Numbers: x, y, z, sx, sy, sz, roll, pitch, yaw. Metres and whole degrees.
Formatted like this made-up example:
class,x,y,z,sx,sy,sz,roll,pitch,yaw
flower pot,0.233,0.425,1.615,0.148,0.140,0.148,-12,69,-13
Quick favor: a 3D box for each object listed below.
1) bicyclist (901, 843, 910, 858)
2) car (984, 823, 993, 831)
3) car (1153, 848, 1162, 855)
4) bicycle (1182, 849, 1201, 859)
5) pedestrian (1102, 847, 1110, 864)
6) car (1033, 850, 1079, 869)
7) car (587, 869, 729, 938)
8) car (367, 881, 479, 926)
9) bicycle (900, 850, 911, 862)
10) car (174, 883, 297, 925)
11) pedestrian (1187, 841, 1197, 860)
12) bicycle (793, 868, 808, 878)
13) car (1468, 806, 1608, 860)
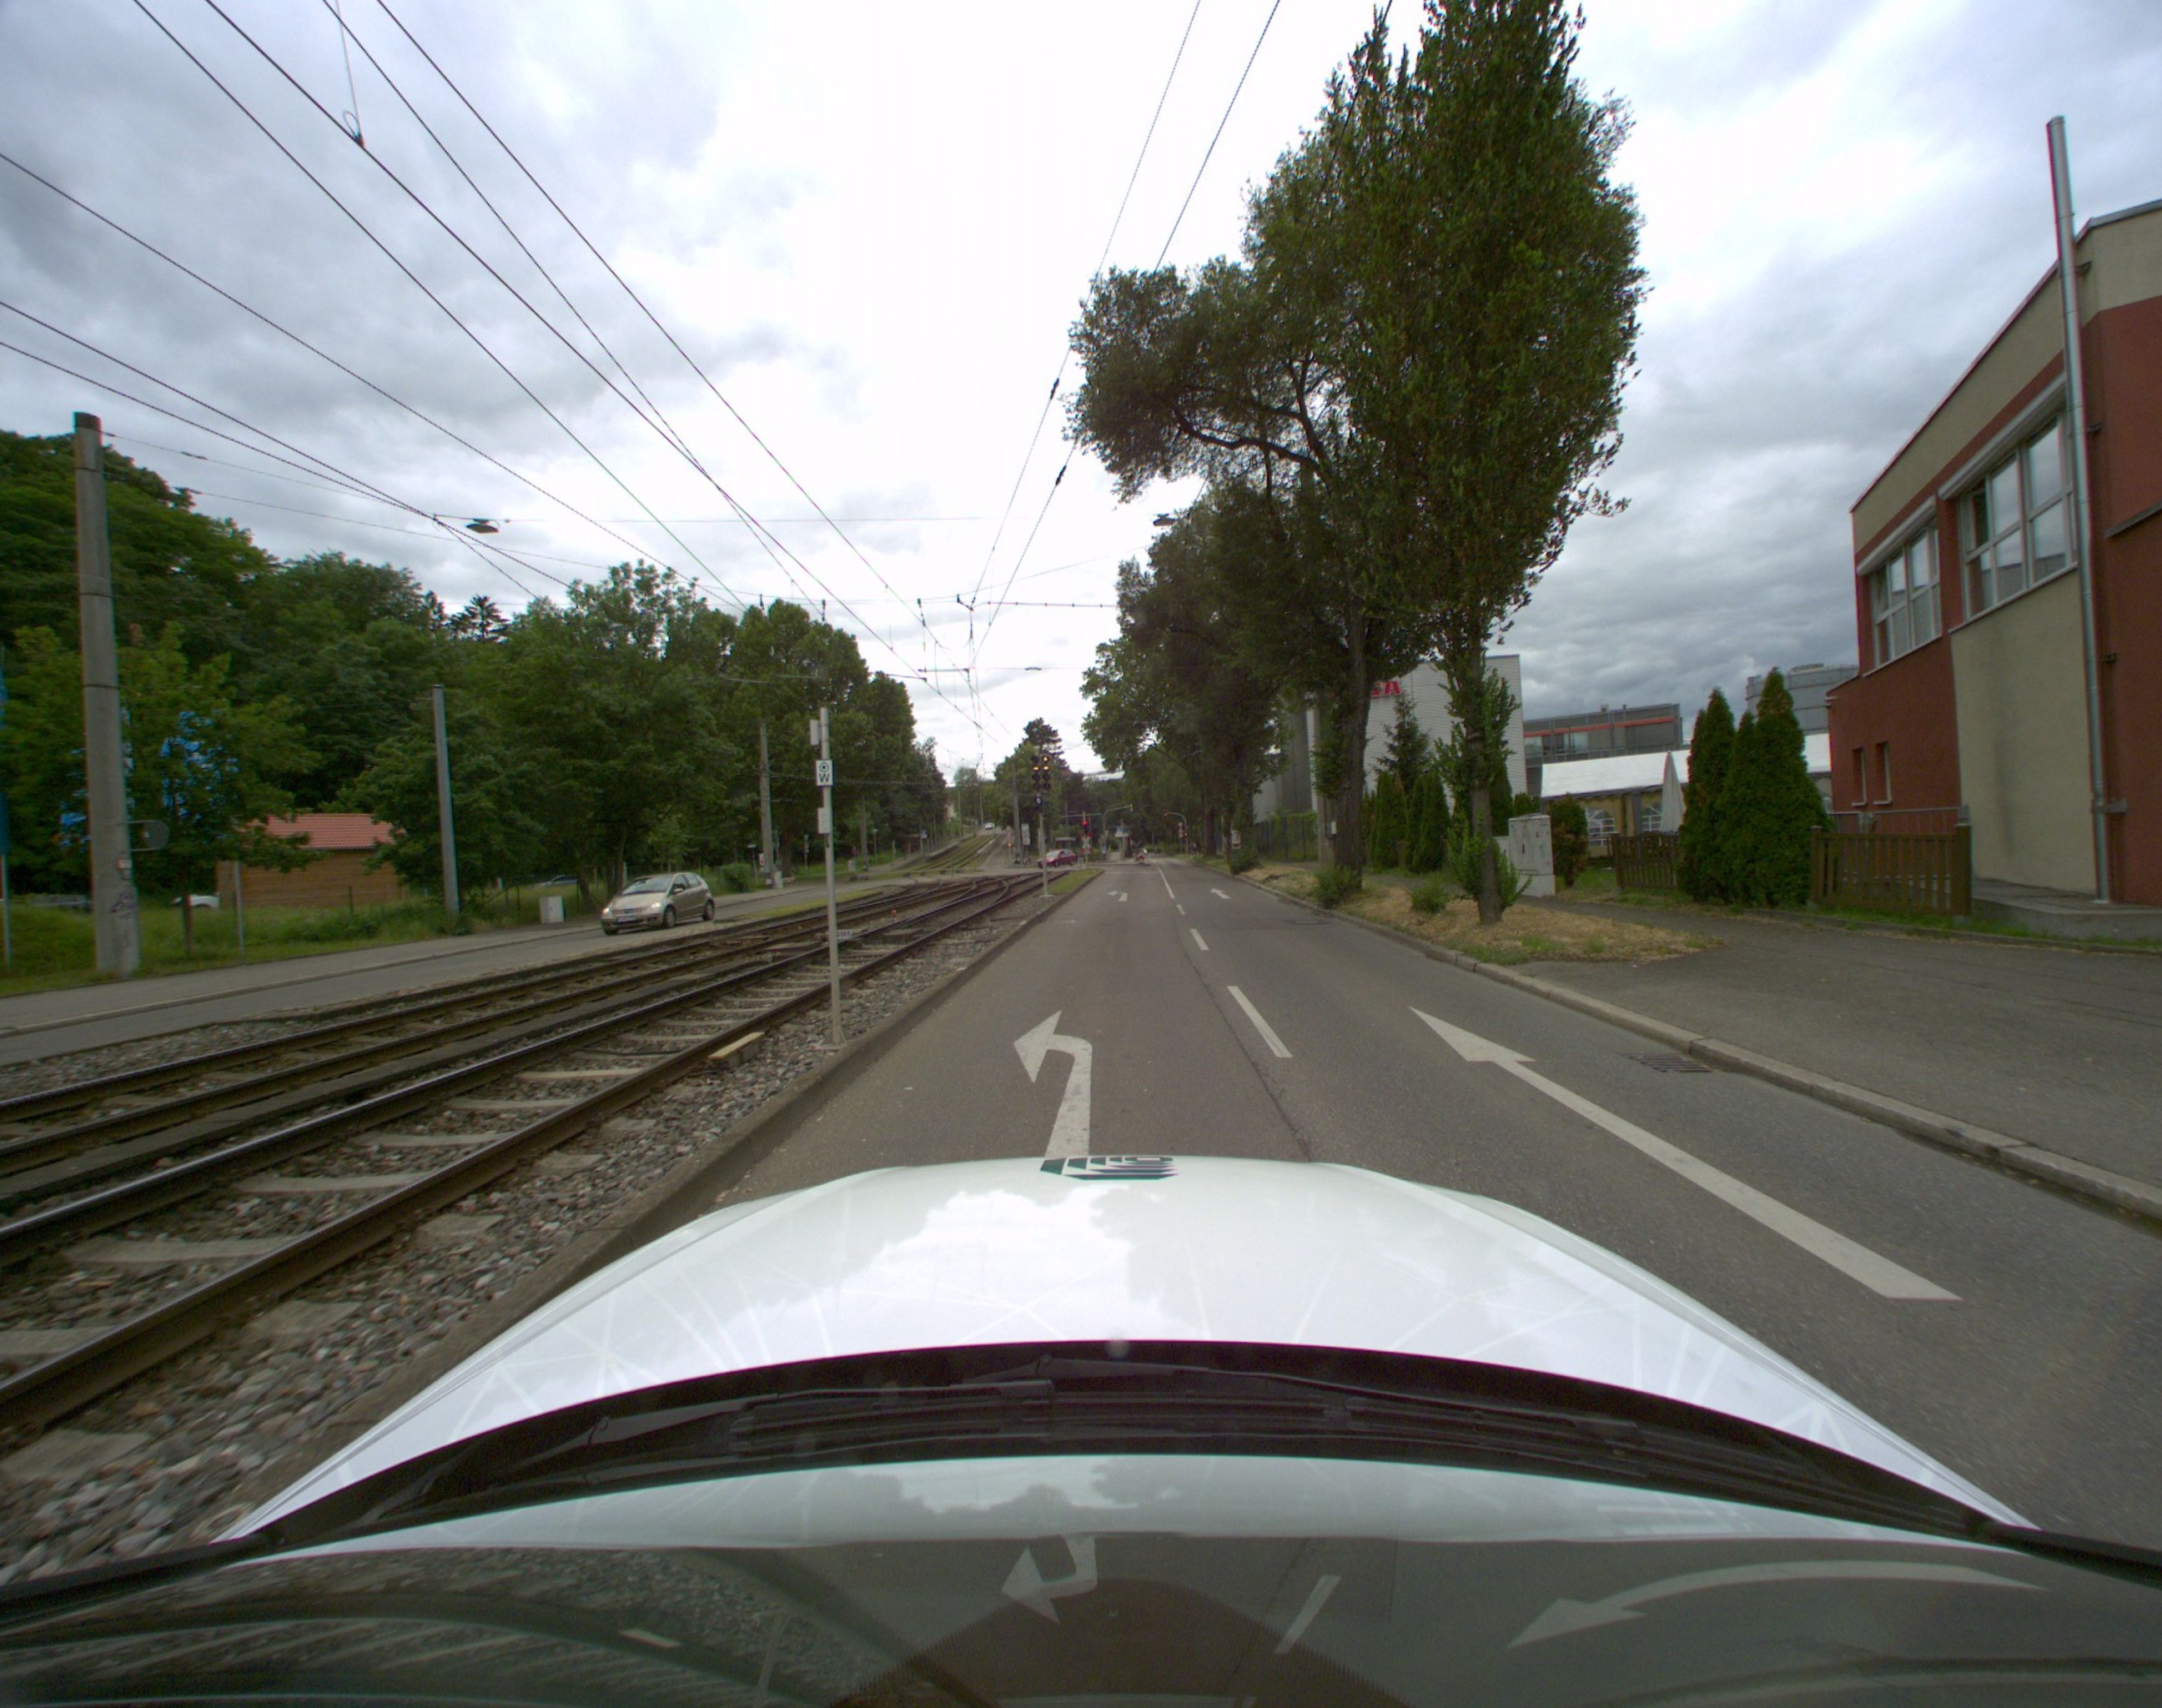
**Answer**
class,x,y,z,sx,sy,sz,roll,pitch,yaw
bicyclist,-22.029,-0.431,101.997,0.819,1.848,1.050,-3,2,-4
car,-26.958,-7.800,238.262,1.987,2.013,4.000,-4,0,0
car,20.955,-0.590,223.290,1.987,1.815,4.000,-4,0,1
bicycle,12.378,-0.012,91.159,2.061,1.007,0.670,-3,0,10
pedestrian,2.708,0.151,88.047,0.766,1.852,0.910,-3,0,1
car,-2.165,0.476,71.313,1.975,1.515,4.528,-2,0,27
car,-12.202,1.366,23.856,1.886,1.531,4.253,-7,0,-2
car,-30.936,2.287,38.464,1.988,1.749,3.998,-4,0,-1
bicycle,-21.993,0.240,102.284,0.822,1.343,2.993,-4,3,-4
car,-48.001,2.786,46.351,1.974,2.013,4.431,-3,0,29
pedestrian,12.403,-0.365,91.174,0.925,2.013,0.670,-3,0,11
bicycle,-27.943,1.882,80.998,1.632,1.012,0.679,-2,-1,42
car,16.910,-0.764,30.405,4.322,1.706,2.012,-3,0,25
